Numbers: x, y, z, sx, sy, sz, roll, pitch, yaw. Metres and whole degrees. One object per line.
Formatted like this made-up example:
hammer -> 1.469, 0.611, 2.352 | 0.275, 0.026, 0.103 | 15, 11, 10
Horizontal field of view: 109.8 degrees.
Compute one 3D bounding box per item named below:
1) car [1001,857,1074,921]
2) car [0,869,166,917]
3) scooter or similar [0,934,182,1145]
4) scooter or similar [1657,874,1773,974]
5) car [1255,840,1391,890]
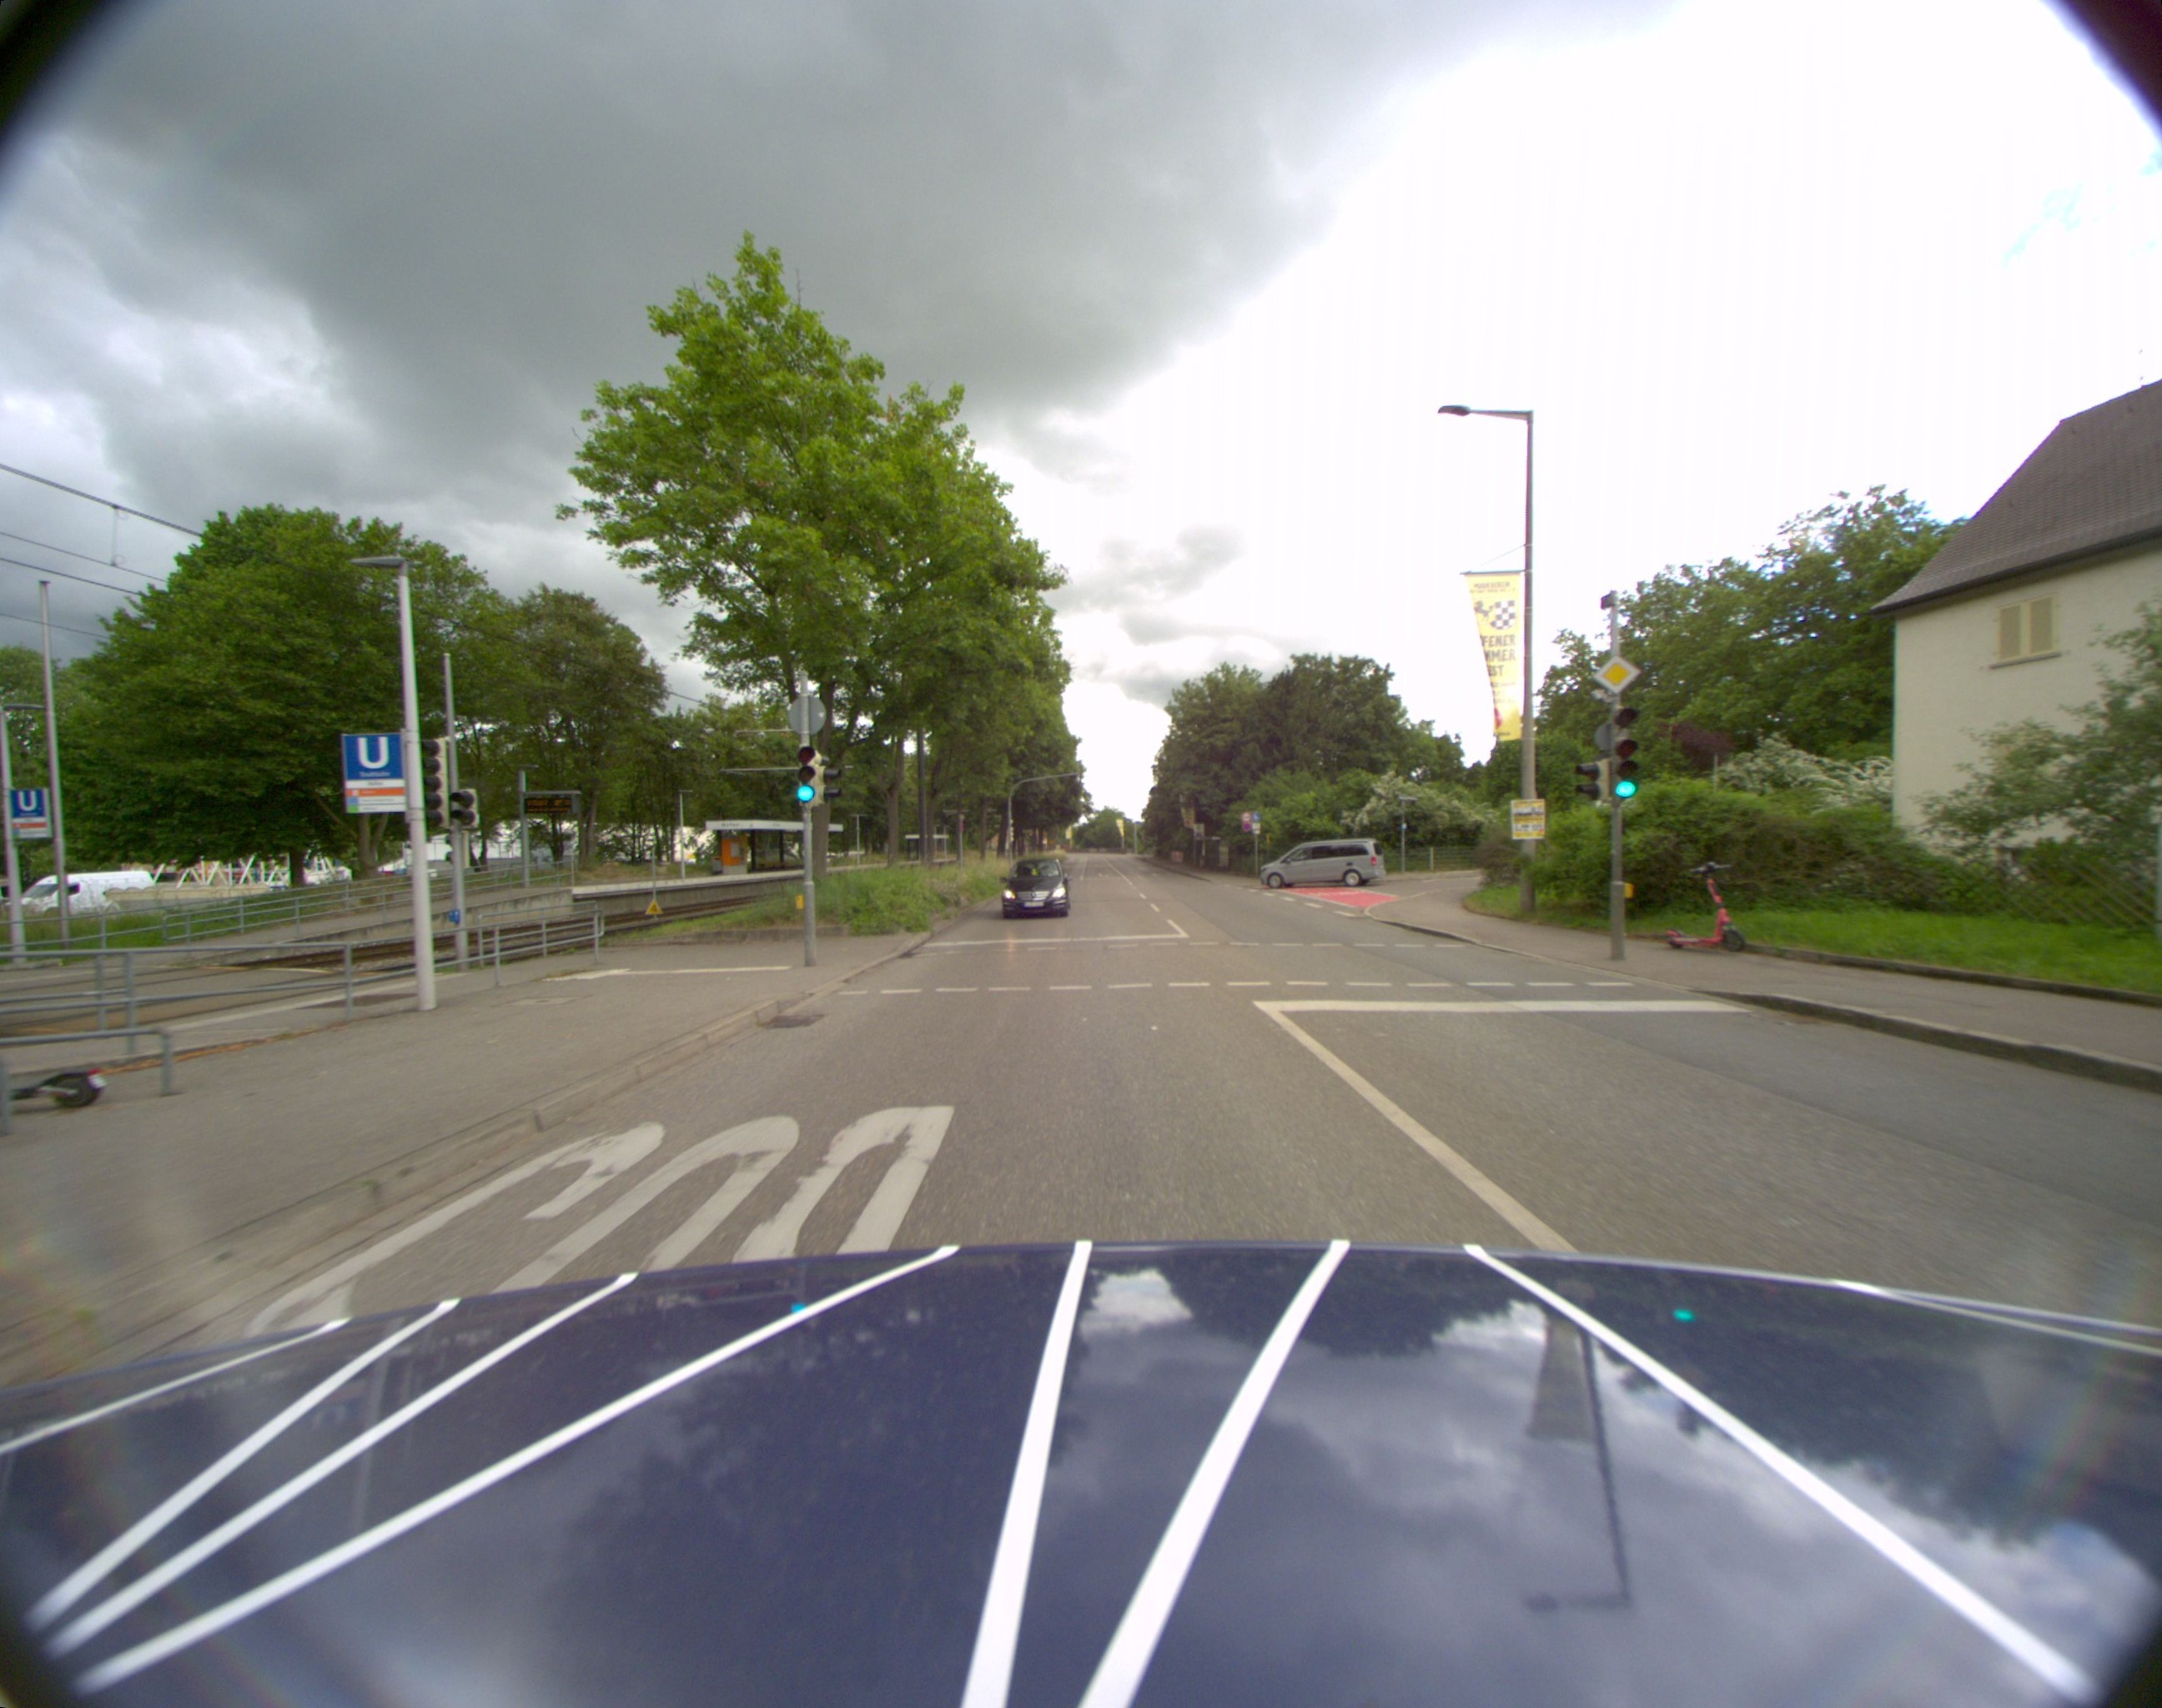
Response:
car -> -1.151, 0.925, 21.723 | 1.751, 1.556, 4.074 | 0, 1, 1
car -> -57.634, 2.164, 44.067 | 1.998, 2.369, 5.807 | -2, 0, 1
scooter or similar -> -7.026, 1.214, 4.918 | 1.459, 1.235, 0.484 | -3, 1, -20
scooter or similar -> 8.945, 0.949, 10.786 | 0.463, 1.252, 1.426 | -2, 1, 2
car -> 10.315, 0.494, 32.516 | 5.141, 1.916, 1.956 | -2, 1, 32
